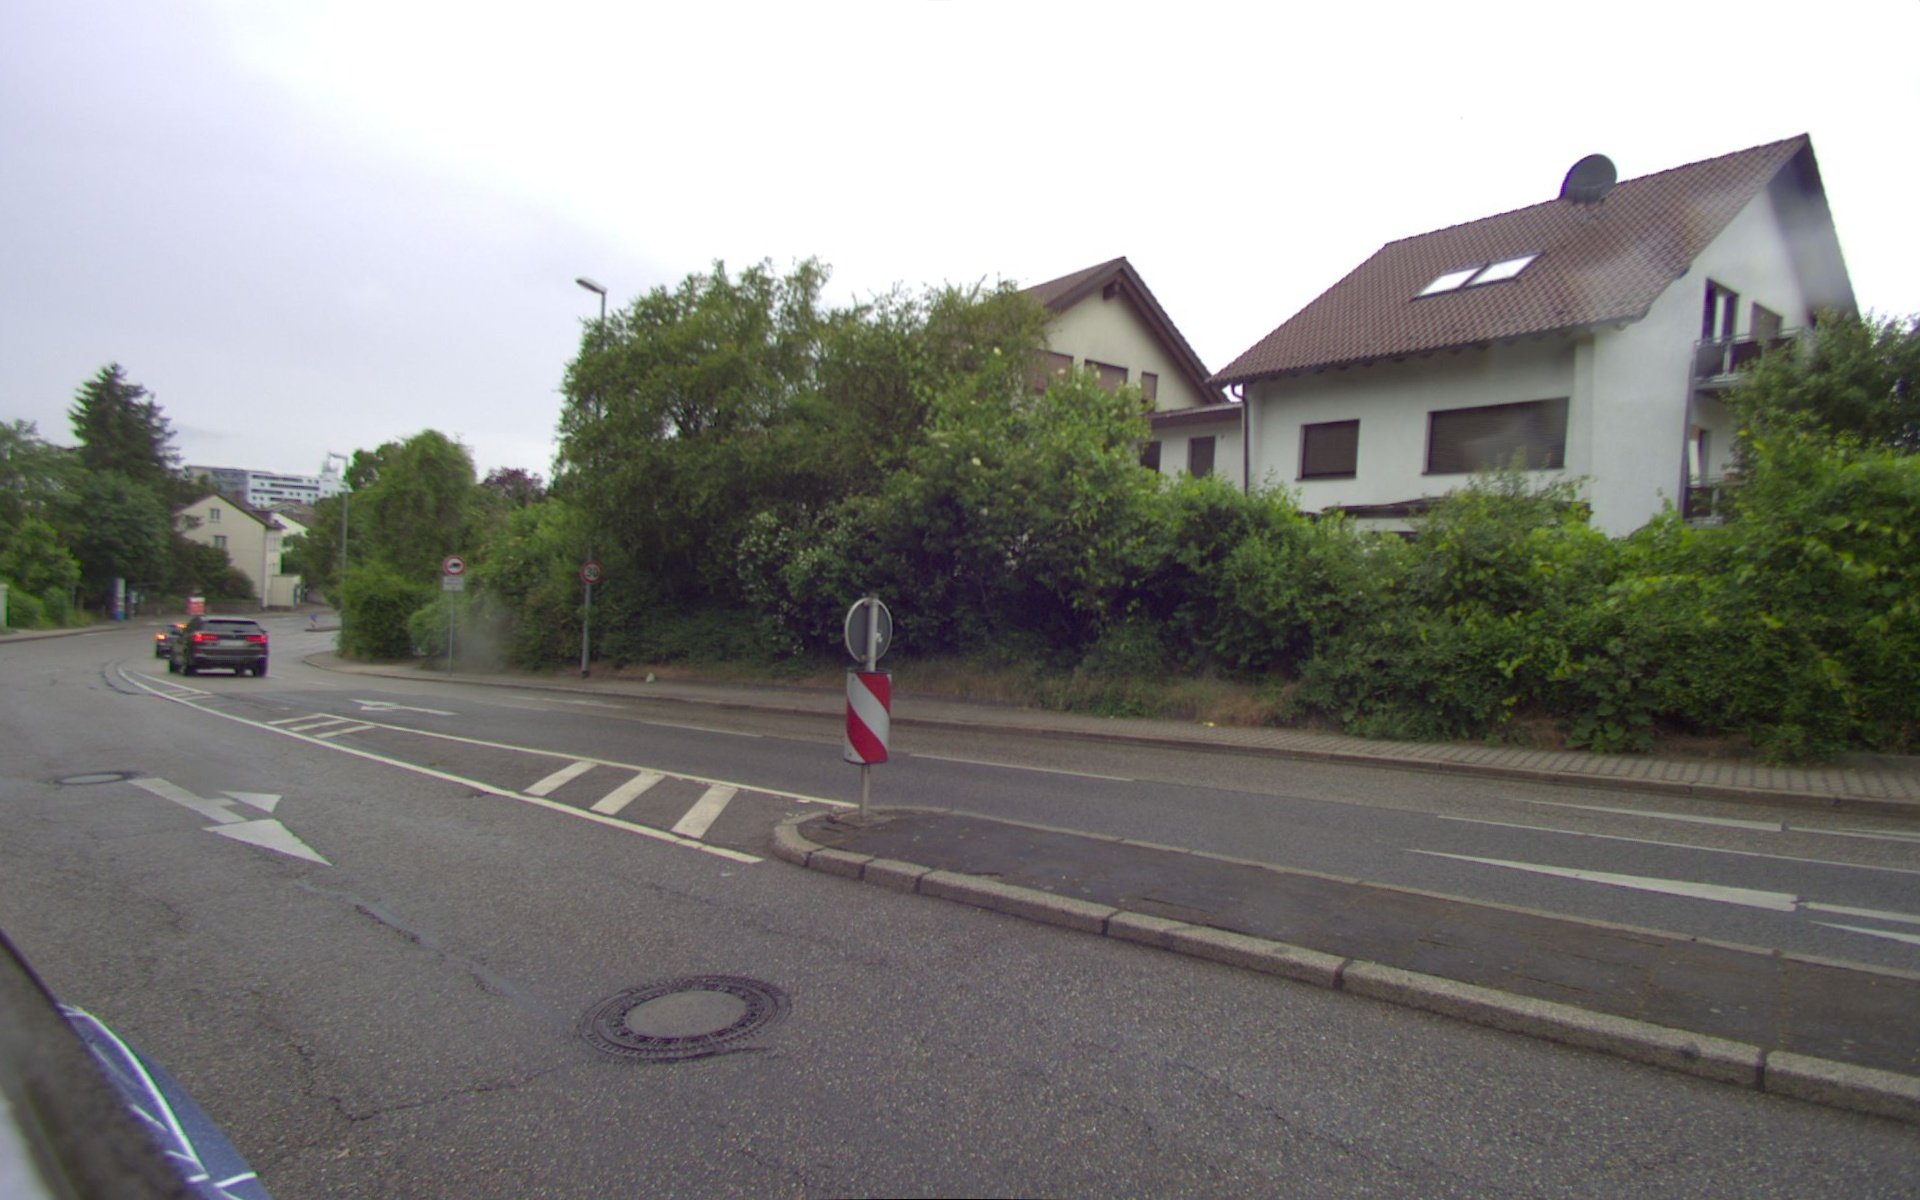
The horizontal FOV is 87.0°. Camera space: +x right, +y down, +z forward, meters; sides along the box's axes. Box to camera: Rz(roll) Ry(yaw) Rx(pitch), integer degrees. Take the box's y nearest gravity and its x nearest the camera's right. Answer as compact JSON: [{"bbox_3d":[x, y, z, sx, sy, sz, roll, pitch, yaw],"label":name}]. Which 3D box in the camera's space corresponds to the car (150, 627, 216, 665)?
[{"bbox_3d":[-35.418,2.084,46.212,1.718,1.614,4.044,2,-3,-29],"label":"car"}]

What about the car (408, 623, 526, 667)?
[{"bbox_3d":[-19.513,1.753,40.105,3.853,1.451,1.814,-3,1,-41],"label":"car"}]

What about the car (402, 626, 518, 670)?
[{"bbox_3d":[-20.994,1.960,42.548,3.939,1.548,2.003,-3,1,-42],"label":"car"}]

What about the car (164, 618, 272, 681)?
[{"bbox_3d":[-22.315,1.438,30.365,1.970,1.730,4.721,3,-3,-44],"label":"car"}]
